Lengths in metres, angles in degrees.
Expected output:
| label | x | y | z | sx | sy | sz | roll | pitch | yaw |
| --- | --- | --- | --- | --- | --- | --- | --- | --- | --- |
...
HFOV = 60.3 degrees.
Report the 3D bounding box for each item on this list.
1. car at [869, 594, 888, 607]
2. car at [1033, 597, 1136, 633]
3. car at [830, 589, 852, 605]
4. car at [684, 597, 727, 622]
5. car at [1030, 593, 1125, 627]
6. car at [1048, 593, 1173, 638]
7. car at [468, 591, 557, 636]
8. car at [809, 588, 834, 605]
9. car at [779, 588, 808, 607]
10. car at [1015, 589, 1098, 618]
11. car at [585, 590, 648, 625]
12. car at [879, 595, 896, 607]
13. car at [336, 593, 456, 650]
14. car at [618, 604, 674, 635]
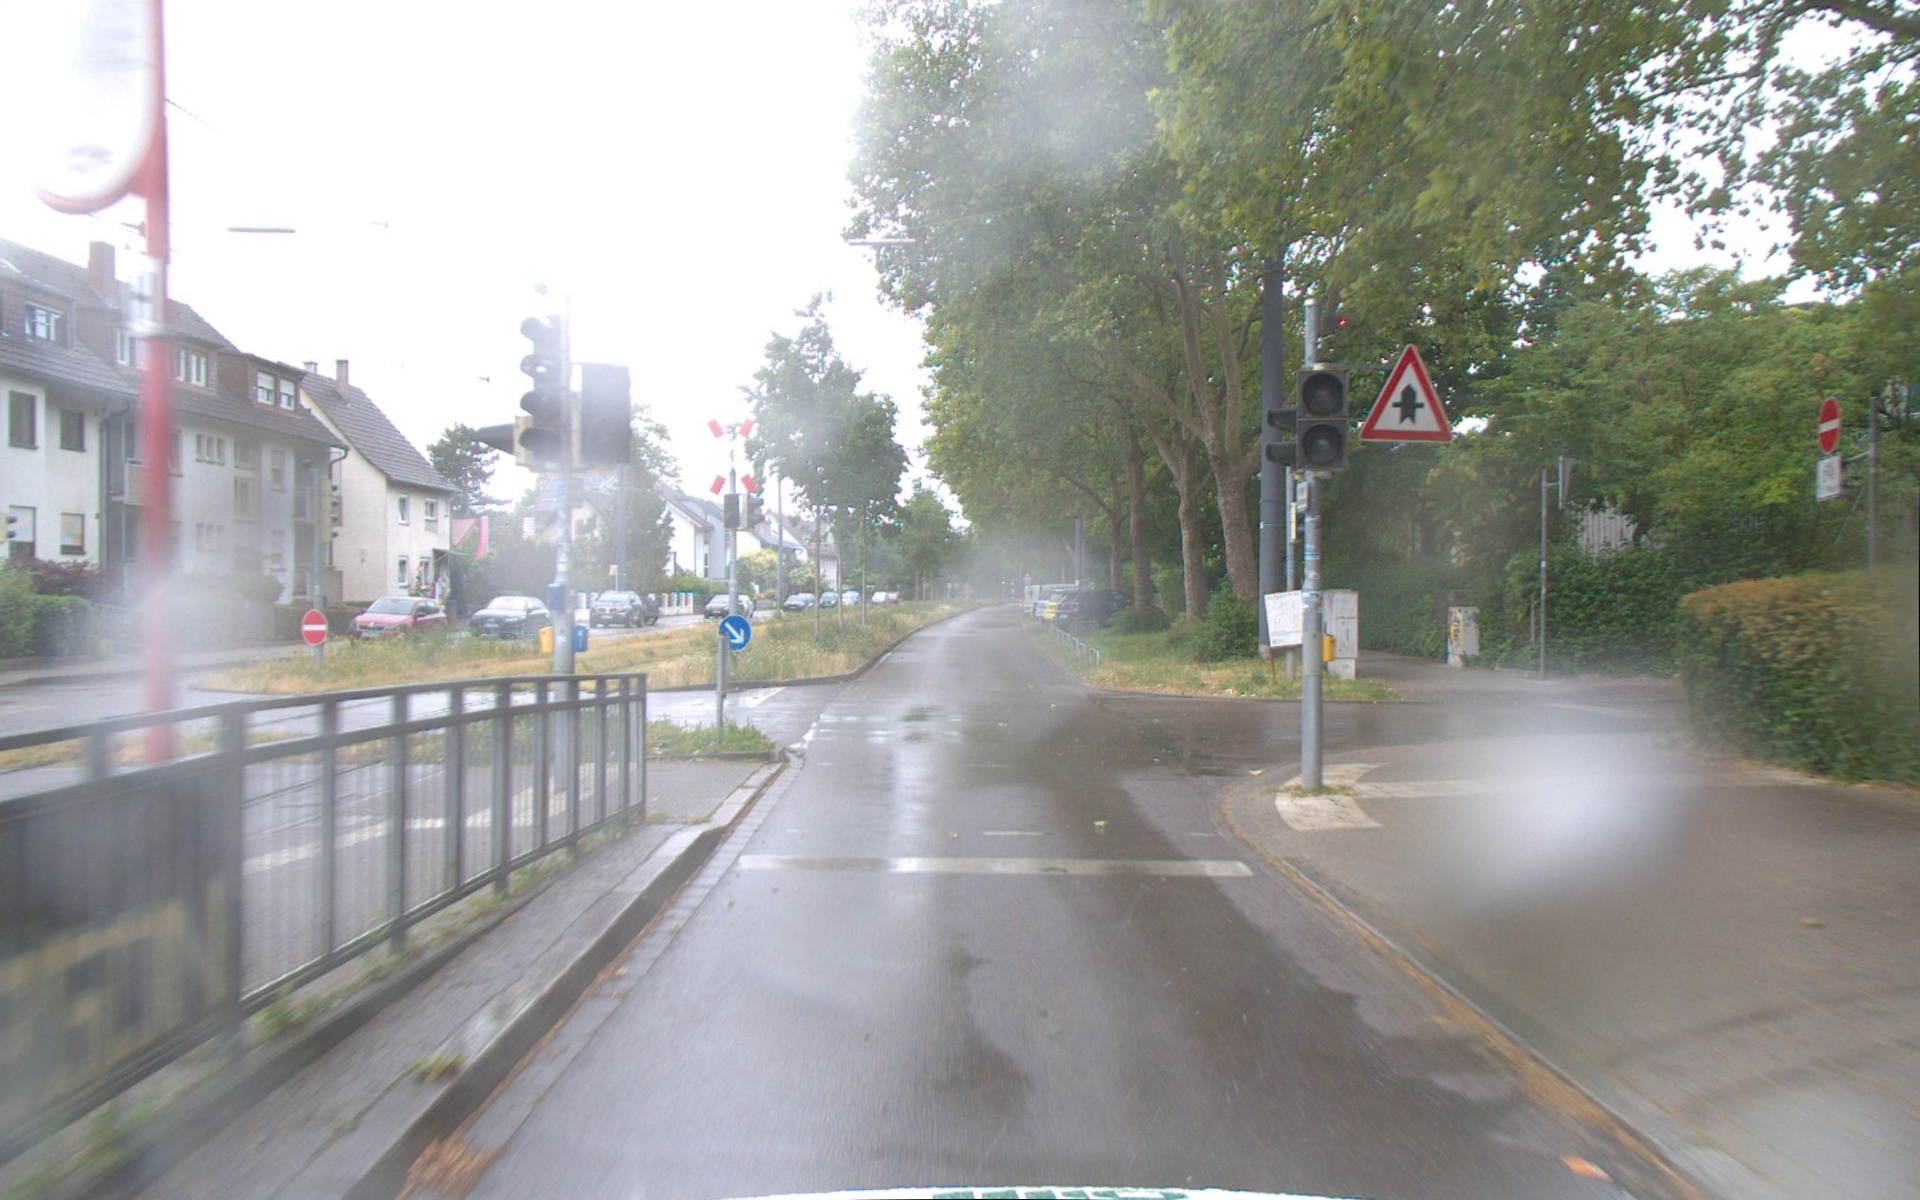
| label | x | y | z | sx | sy | sz | roll | pitch | yaw |
| --- | --- | --- | --- | --- | --- | --- | --- | --- | --- |
| car | -9.869 | 0.107 | 200.529 | 1.888 | 1.512 | 4.001 | 1 | 0 | 2 |
| car | 5.255 | 0.631 | 70.118 | 3.922 | 1.478 | 1.992 | 1 | 0 | -16 |
| car | -12.259 | -0.291 | 170.462 | 1.888 | 1.512 | 4.001 | 1 | 0 | 2 |
| car | -15.594 | 0.583 | 101.636 | 1.888 | 1.512 | 4.001 | 1 | 0 | 2 |
| car | 5.404 | 0.448 | 75.978 | 3.922 | 1.478 | 1.992 | 1 | 0 | -16 |
| car | 5.260 | 0.540 | 57.907 | 3.922 | 1.478 | 1.992 | 1 | 0 | -16 |
| car | -15.613 | 0.461 | 57.931 | 1.888 | 1.512 | 4.001 | 1 | 0 | 2 |
| car | -13.215 | -0.314 | 158.322 | 1.888 | 1.512 | 4.001 | 1 | 0 | 2 |
| car | -13.684 | -0.194 | 136.210 | 1.888 | 1.512 | 4.001 | 1 | 0 | 2 |
| car | 5.006 | 0.188 | 86.079 | 3.922 | 1.478 | 1.992 | 1 | 0 | -16 |
| car | -15.491 | 0.355 | 74.767 | 1.888 | 1.512 | 4.001 | 1 | 0 | 2 |
| car | -9.351 | 0.083 | 214.469 | 1.888 | 1.512 | 4.001 | 1 | 0 | 2 |
| car | -15.950 | 0.587 | 46.971 | 1.888 | 1.512 | 4.001 | 1 | 0 | 2 |
| car | -15.475 | 0.950 | 81.683 | 1.888 | 1.512 | 4.001 | 1 | 0 | 2 |
